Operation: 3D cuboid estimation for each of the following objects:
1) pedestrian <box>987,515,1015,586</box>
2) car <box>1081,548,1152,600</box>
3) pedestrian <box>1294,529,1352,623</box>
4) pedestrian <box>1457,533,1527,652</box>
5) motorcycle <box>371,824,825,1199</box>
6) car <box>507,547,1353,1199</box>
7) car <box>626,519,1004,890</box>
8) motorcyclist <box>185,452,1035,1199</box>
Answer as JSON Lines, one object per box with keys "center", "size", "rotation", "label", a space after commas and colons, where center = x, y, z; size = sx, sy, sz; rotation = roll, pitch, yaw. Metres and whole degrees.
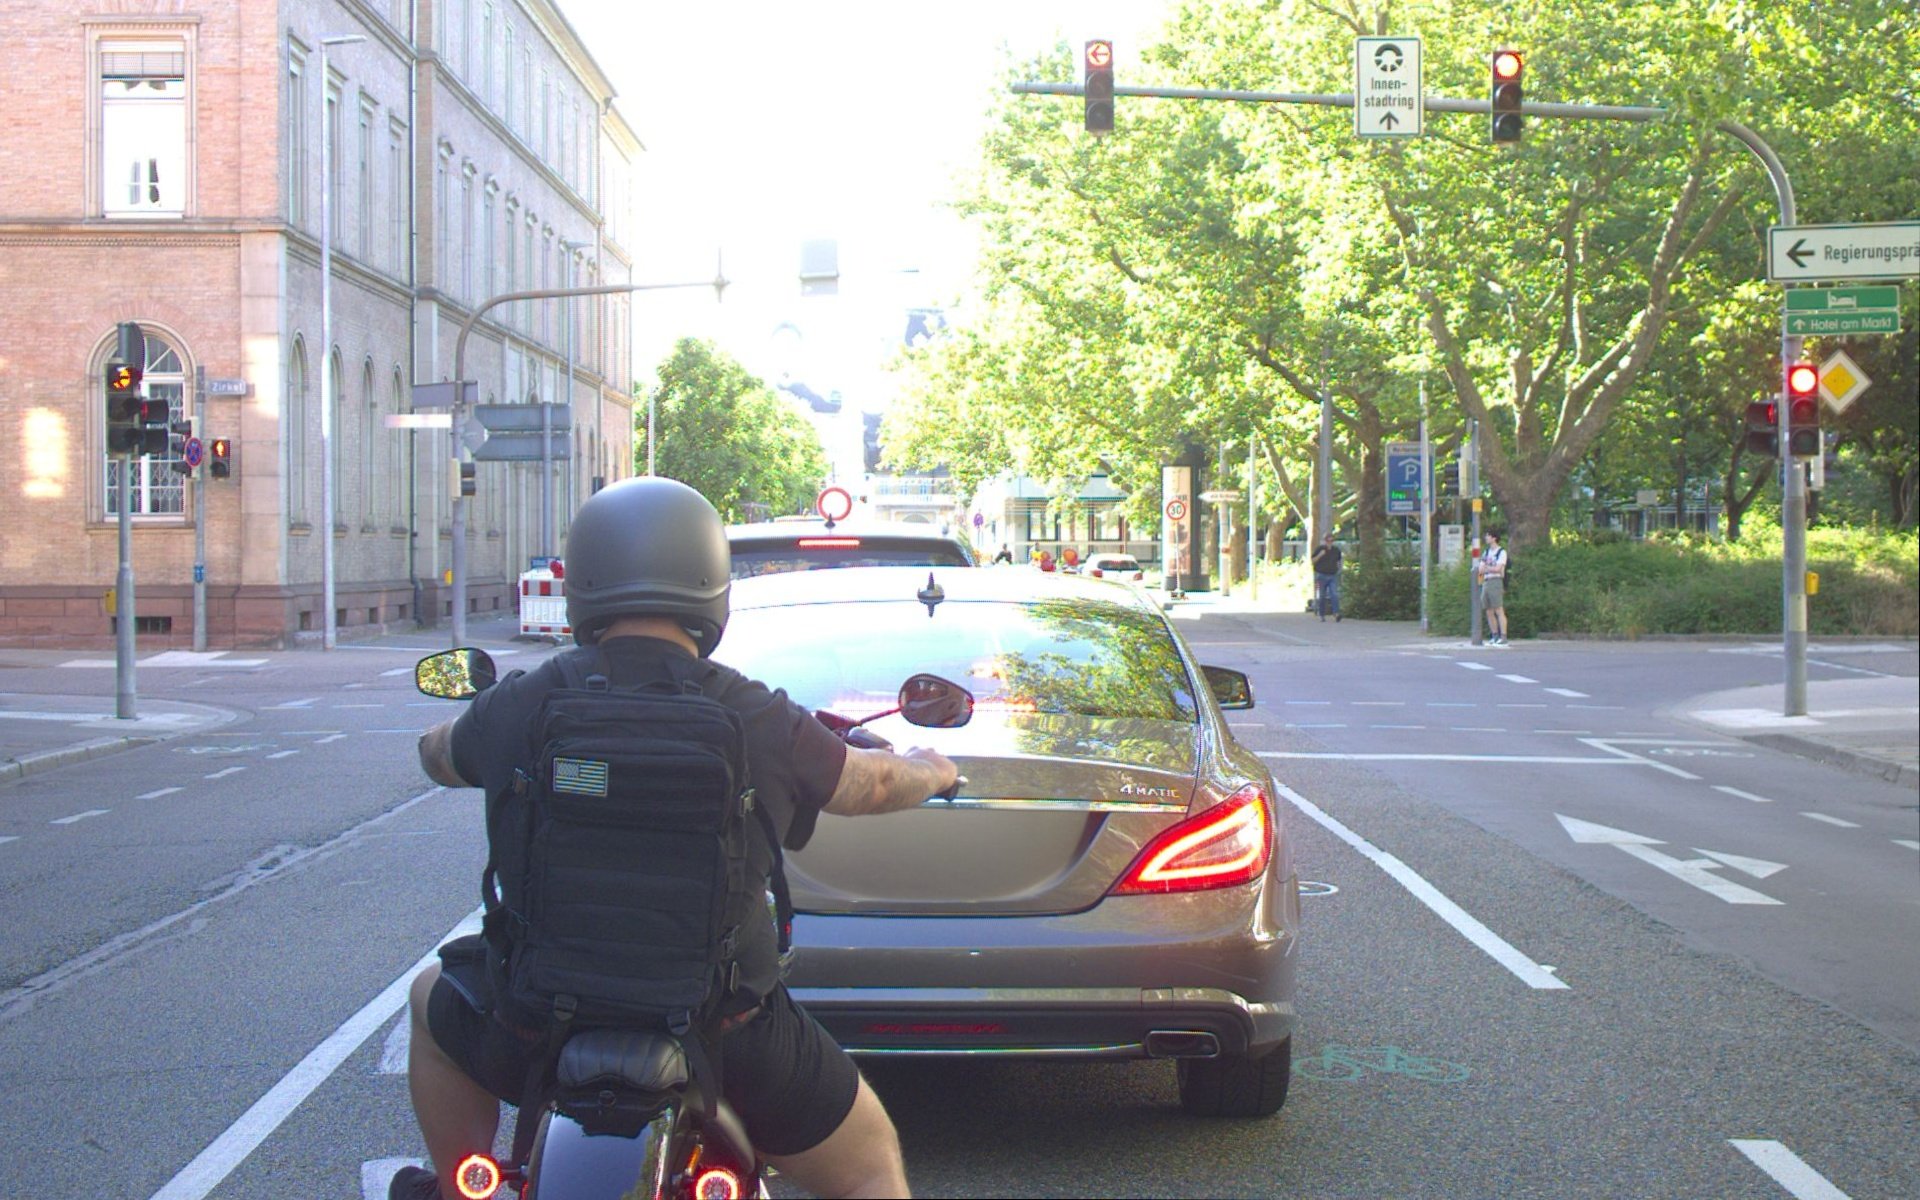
{"center": [1.204, -1.451, 100.910], "size": [0.764, 2.044, 0.712], "rotation": [1, 0, -1], "label": "pedestrian"}
{"center": [4.395, -0.759, 96.908], "size": [1.776, 1.423, 3.802], "rotation": [0, 1, -1], "label": "car"}
{"center": [7.394, -0.490, 70.036], "size": [0.749, 1.903, 0.926], "rotation": [1, 0, -28], "label": "pedestrian"}
{"center": [8.296, -0.119, 53.645], "size": [1.002, 1.820, 1.076], "rotation": [1, 0, 6], "label": "pedestrian"}
{"center": [-0.502, 0.927, 5.360], "size": [0.513, 0.999, 2.013], "rotation": [1, 1, -1], "label": "motorcycle"}
{"center": [-0.089, 0.596, 9.634], "size": [1.882, 1.444, 3.820], "rotation": [1, 1, -1], "label": "car"}
{"center": [-0.642, 0.412, 16.749], "size": [1.621, 1.588, 4.000], "rotation": [0, 1, -1], "label": "car"}
{"center": [-0.490, 0.596, 5.346], "size": [1.149, 1.593, 1.288], "rotation": [1, 0, -1], "label": "motorcyclist"}
